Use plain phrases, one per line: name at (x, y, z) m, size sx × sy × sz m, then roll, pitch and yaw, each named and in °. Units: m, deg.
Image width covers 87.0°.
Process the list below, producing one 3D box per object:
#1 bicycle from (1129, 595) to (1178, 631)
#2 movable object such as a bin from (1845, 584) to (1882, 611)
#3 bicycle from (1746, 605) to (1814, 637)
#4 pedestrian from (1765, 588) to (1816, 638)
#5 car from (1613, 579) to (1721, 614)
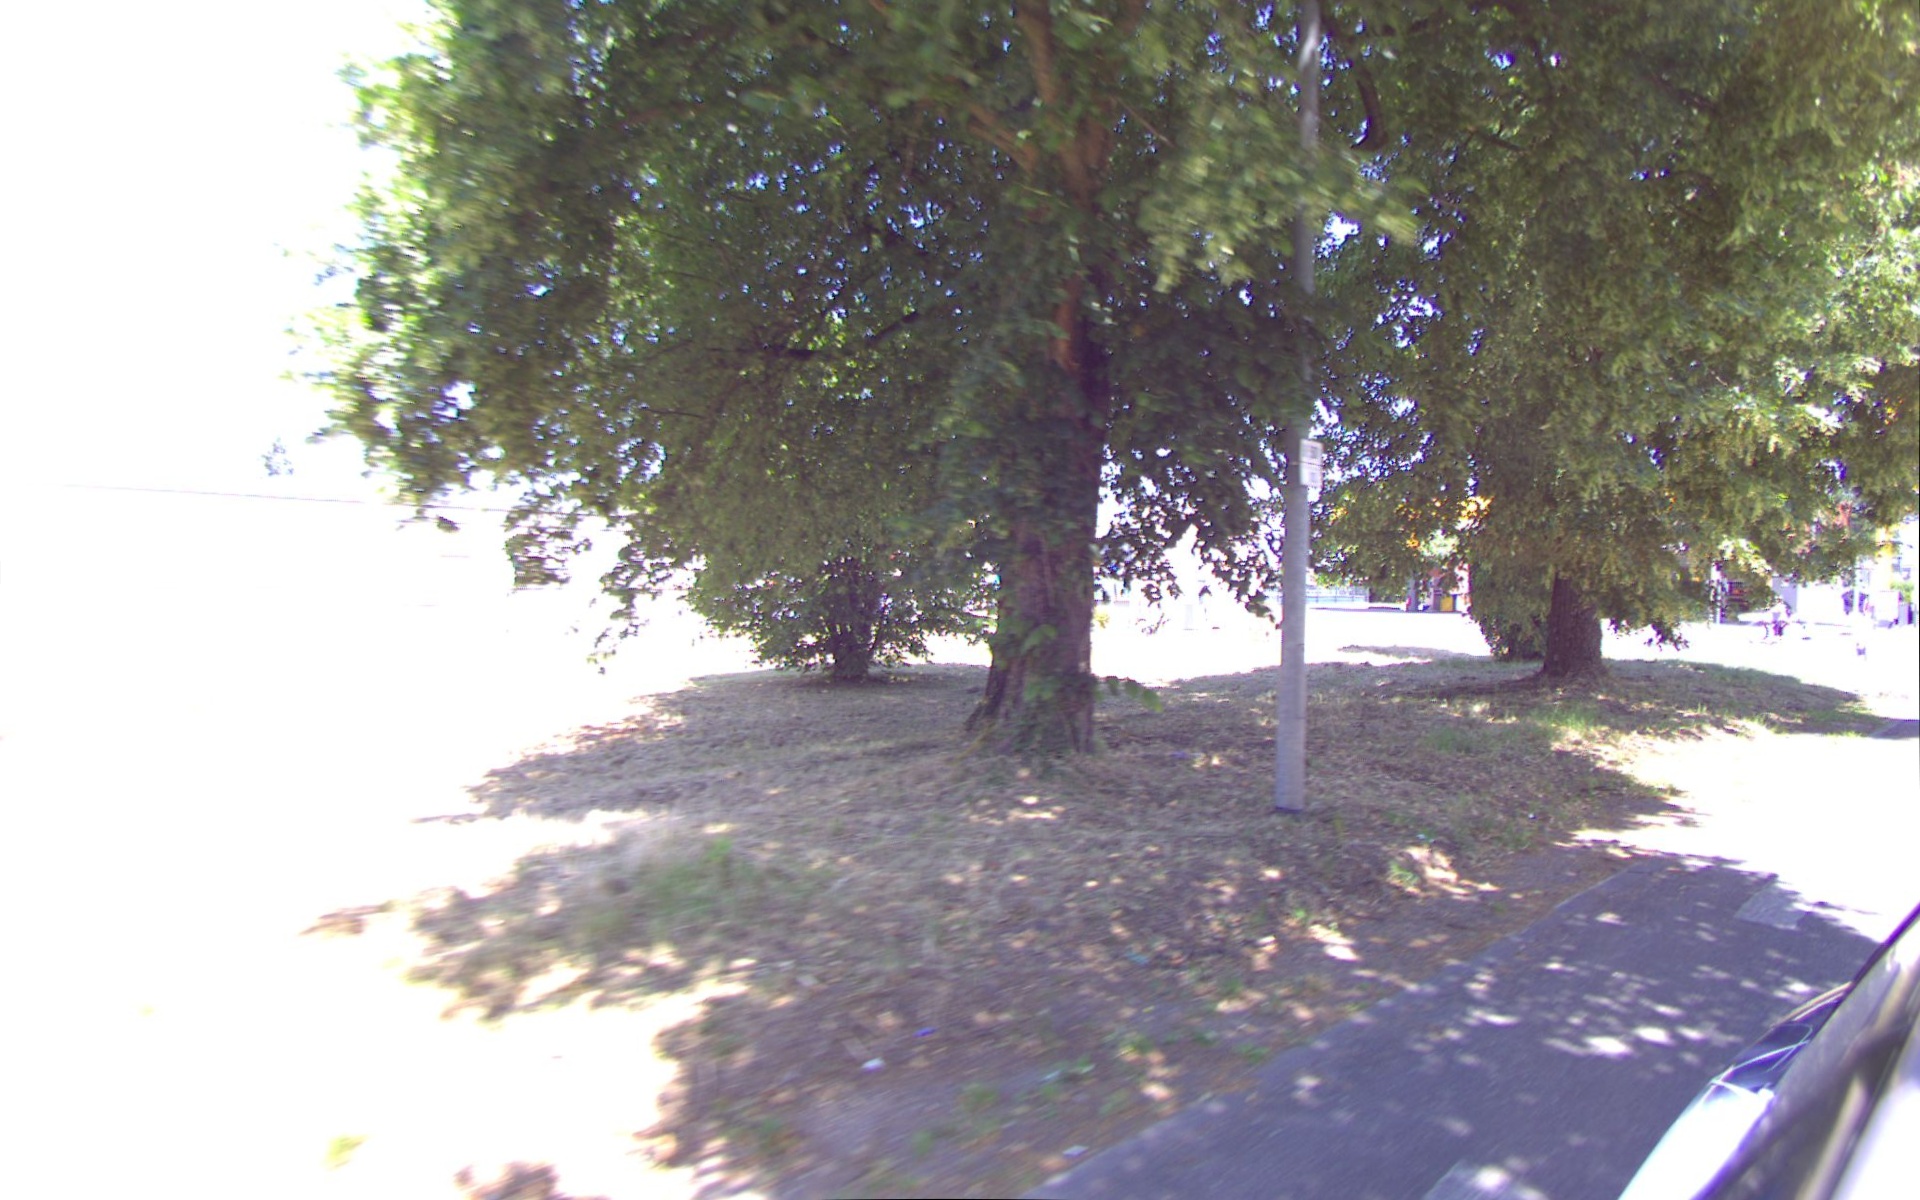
bicycle at (6.296, 0.417, 33.020) m, size 0.459 × 1.111 × 1.697 m, roll -1°, pitch 1°, yaw -39°
movable object such as a bin at (51.220, -0.140, 57.357) m, size 1.435 × 1.455 × 1.444 m, roll 4°, pitch 3°, yaw 45°
bicycle at (24.341, 0.608, 30.047) m, size 1.571 × 0.923 × 0.378 m, roll 0°, pitch 0°, yaw 9°
pedestrian at (24.232, 0.373, 29.534) m, size 0.853 × 1.439 × 0.770 m, roll 0°, pitch 0°, yaw 8°
car at (42.458, -0.246, 60.890) m, size 1.967 × 2.000 × 5.054 m, roll 0°, pitch 1°, yaw -44°
